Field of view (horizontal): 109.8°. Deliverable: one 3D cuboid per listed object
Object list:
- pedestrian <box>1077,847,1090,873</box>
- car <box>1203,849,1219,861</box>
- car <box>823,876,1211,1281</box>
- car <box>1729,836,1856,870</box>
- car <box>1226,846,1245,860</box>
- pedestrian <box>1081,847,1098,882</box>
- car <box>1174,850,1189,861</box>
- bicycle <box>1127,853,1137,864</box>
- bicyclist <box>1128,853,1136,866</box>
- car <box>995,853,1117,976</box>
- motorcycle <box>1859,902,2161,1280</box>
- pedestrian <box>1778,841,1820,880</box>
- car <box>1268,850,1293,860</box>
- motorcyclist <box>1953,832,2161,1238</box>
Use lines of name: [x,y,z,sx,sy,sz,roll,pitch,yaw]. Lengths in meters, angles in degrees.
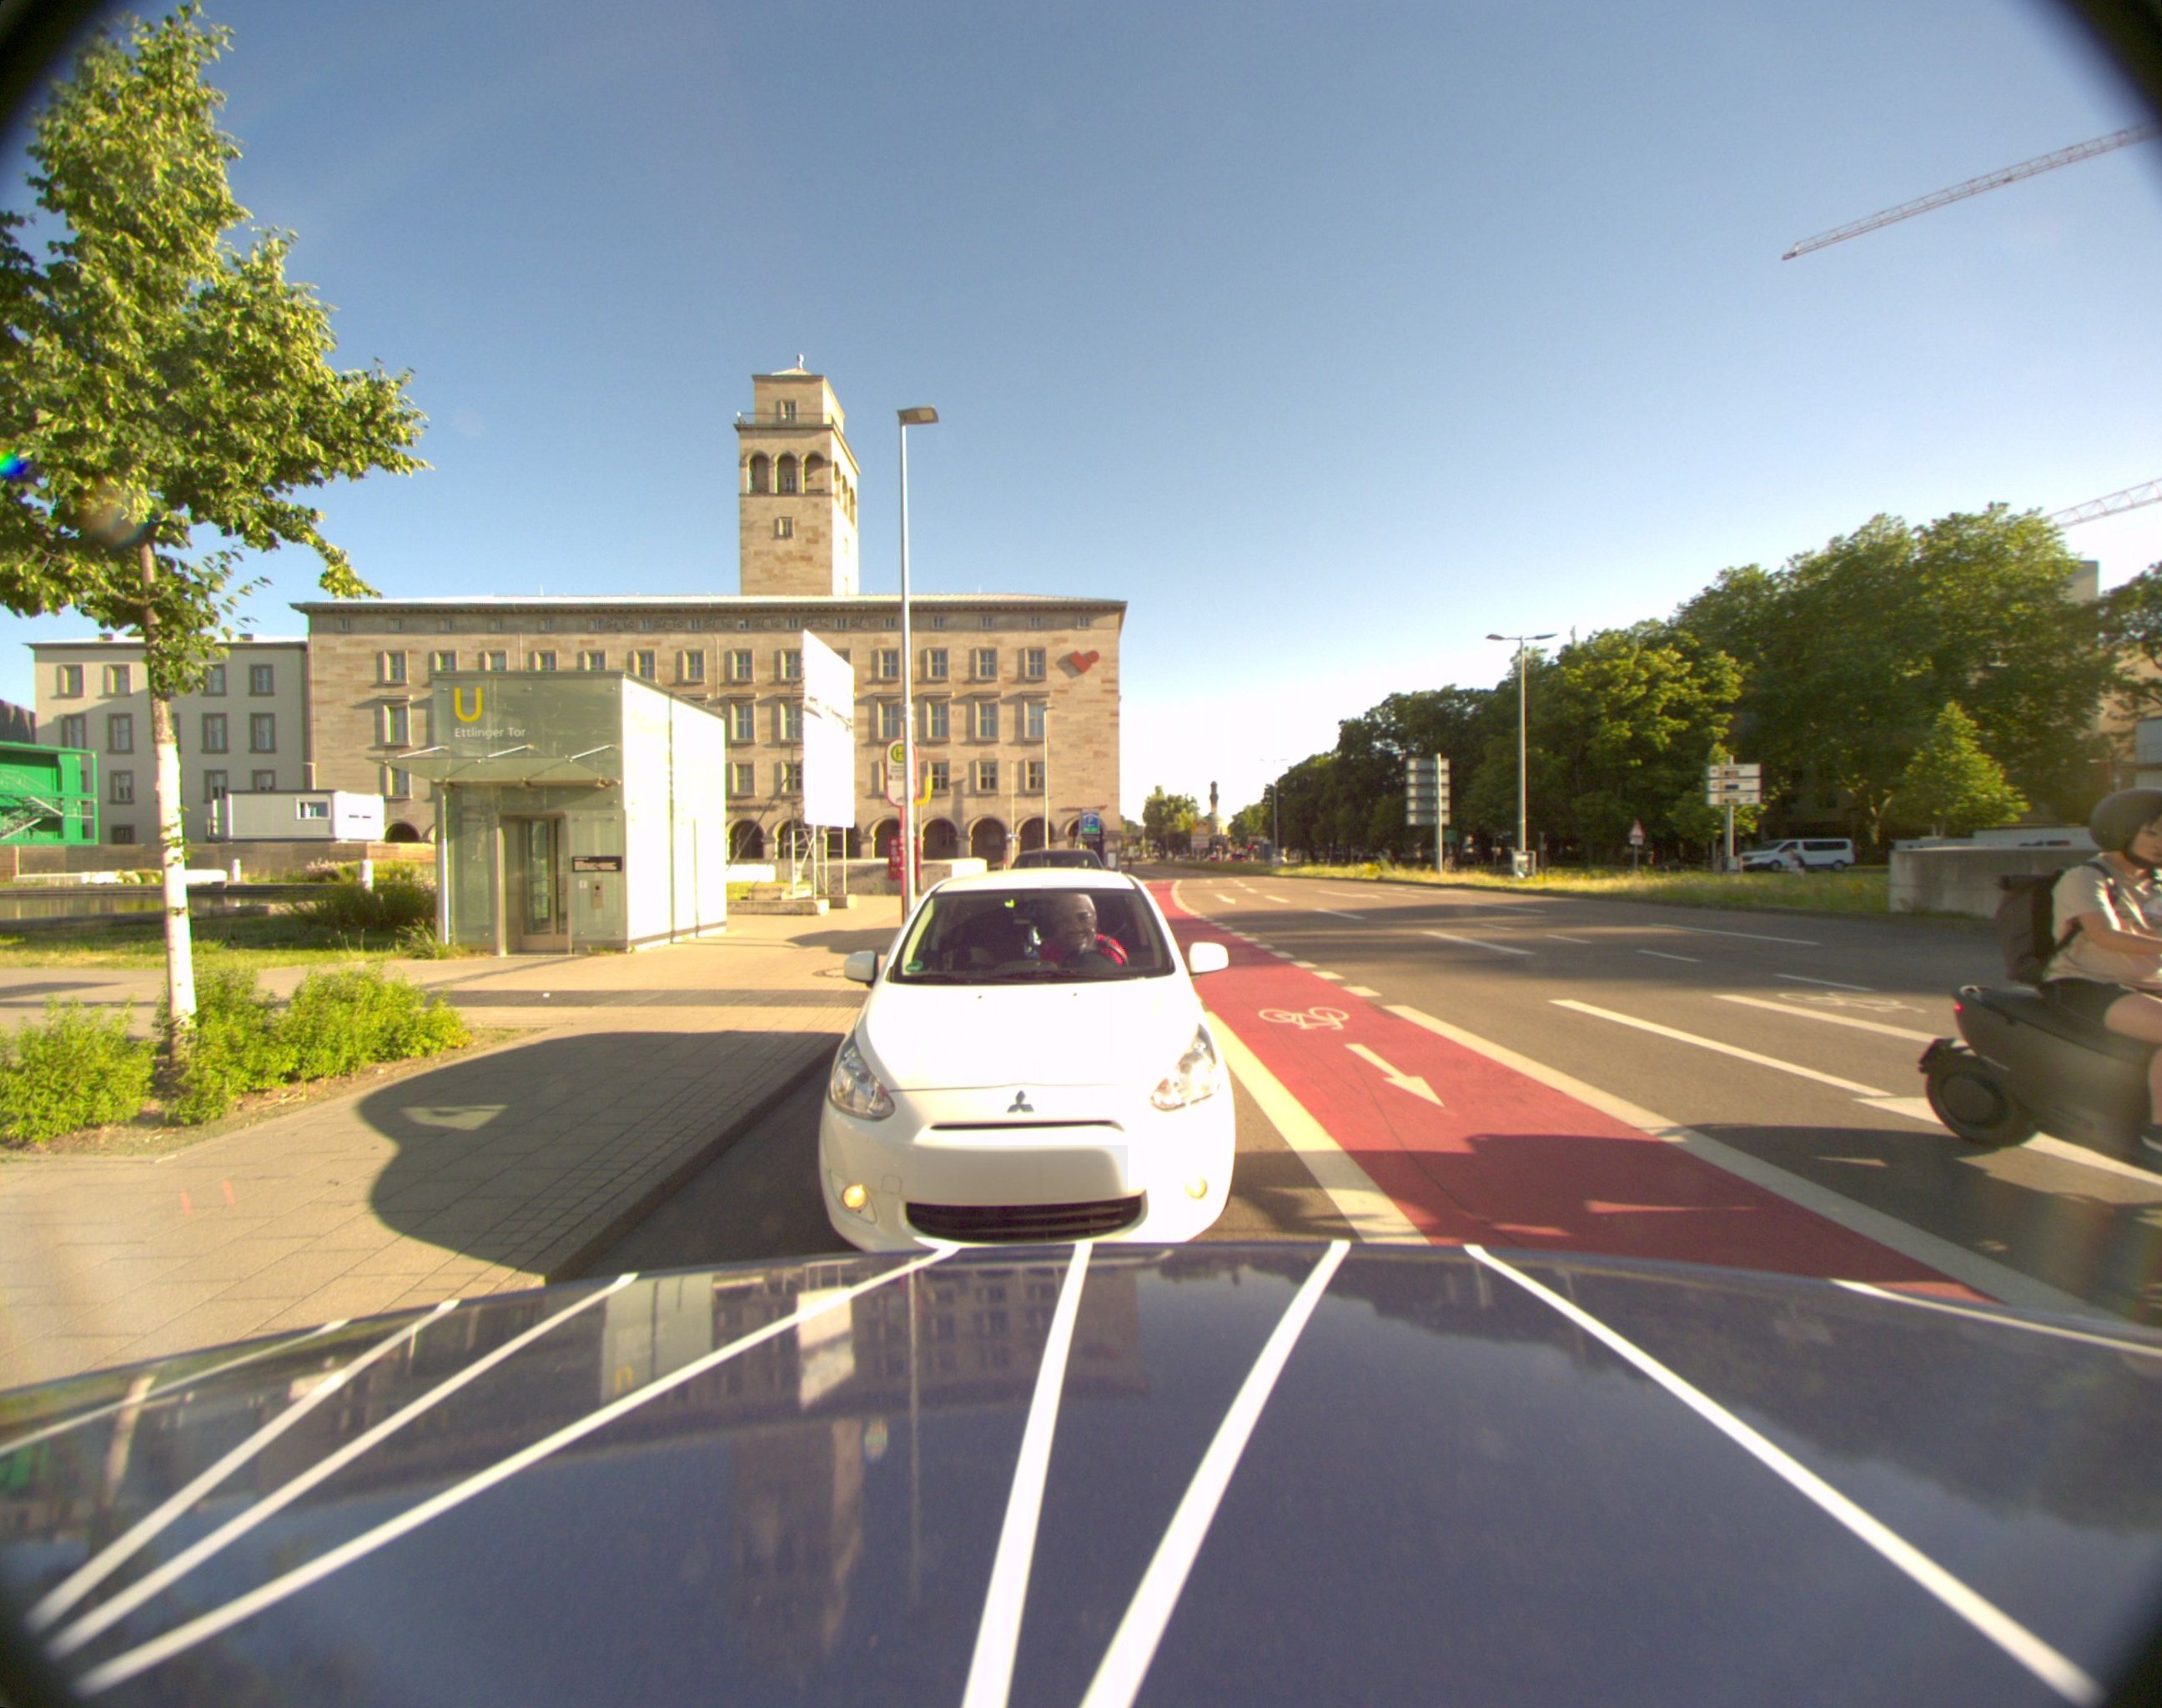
pedestrian: [0.252,0.575,73.753,1.122,2.524,1.055,-2,1,1]
car: [20.582,0.123,120.439,1.747,1.778,3.947,-2,1,1]
car: [-0.231,0.953,4.837,1.496,1.477,3.604,-2,0,1]
car: [42.133,-0.051,45.111,5.516,1.924,2.065,-1,1,2]
car: [21.548,-0.152,106.167,1.819,1.817,3.999,-2,1,1]
pedestrian: [0.620,0.764,55.678,1.122,2.524,1.055,-2,1,1]
car: [16.312,0.278,123.386,1.849,1.677,3.999,-2,1,1]
bicycle: [5.719,0.505,85.542,0.854,1.109,2.808,-2,0,1]
bicyclist: [5.709,0.624,85.349,0.854,1.340,0.829,-2,1,1]
car: [-0.371,0.839,12.517,1.642,1.653,3.849,-2,0,-1]
motorcycle: [4.286,0.897,2.884,0.724,1.286,1.884,-2,0,1]
pedestrian: [34.021,0.301,36.019,0.989,1.821,1.019,-2,1,-3]
car: [36.302,0.203,138.343,3.995,1.677,1.852,-2,1,8]
motorcyclist: [4.278,0.653,2.937,0.727,1.466,0.917,-2,0,1]
